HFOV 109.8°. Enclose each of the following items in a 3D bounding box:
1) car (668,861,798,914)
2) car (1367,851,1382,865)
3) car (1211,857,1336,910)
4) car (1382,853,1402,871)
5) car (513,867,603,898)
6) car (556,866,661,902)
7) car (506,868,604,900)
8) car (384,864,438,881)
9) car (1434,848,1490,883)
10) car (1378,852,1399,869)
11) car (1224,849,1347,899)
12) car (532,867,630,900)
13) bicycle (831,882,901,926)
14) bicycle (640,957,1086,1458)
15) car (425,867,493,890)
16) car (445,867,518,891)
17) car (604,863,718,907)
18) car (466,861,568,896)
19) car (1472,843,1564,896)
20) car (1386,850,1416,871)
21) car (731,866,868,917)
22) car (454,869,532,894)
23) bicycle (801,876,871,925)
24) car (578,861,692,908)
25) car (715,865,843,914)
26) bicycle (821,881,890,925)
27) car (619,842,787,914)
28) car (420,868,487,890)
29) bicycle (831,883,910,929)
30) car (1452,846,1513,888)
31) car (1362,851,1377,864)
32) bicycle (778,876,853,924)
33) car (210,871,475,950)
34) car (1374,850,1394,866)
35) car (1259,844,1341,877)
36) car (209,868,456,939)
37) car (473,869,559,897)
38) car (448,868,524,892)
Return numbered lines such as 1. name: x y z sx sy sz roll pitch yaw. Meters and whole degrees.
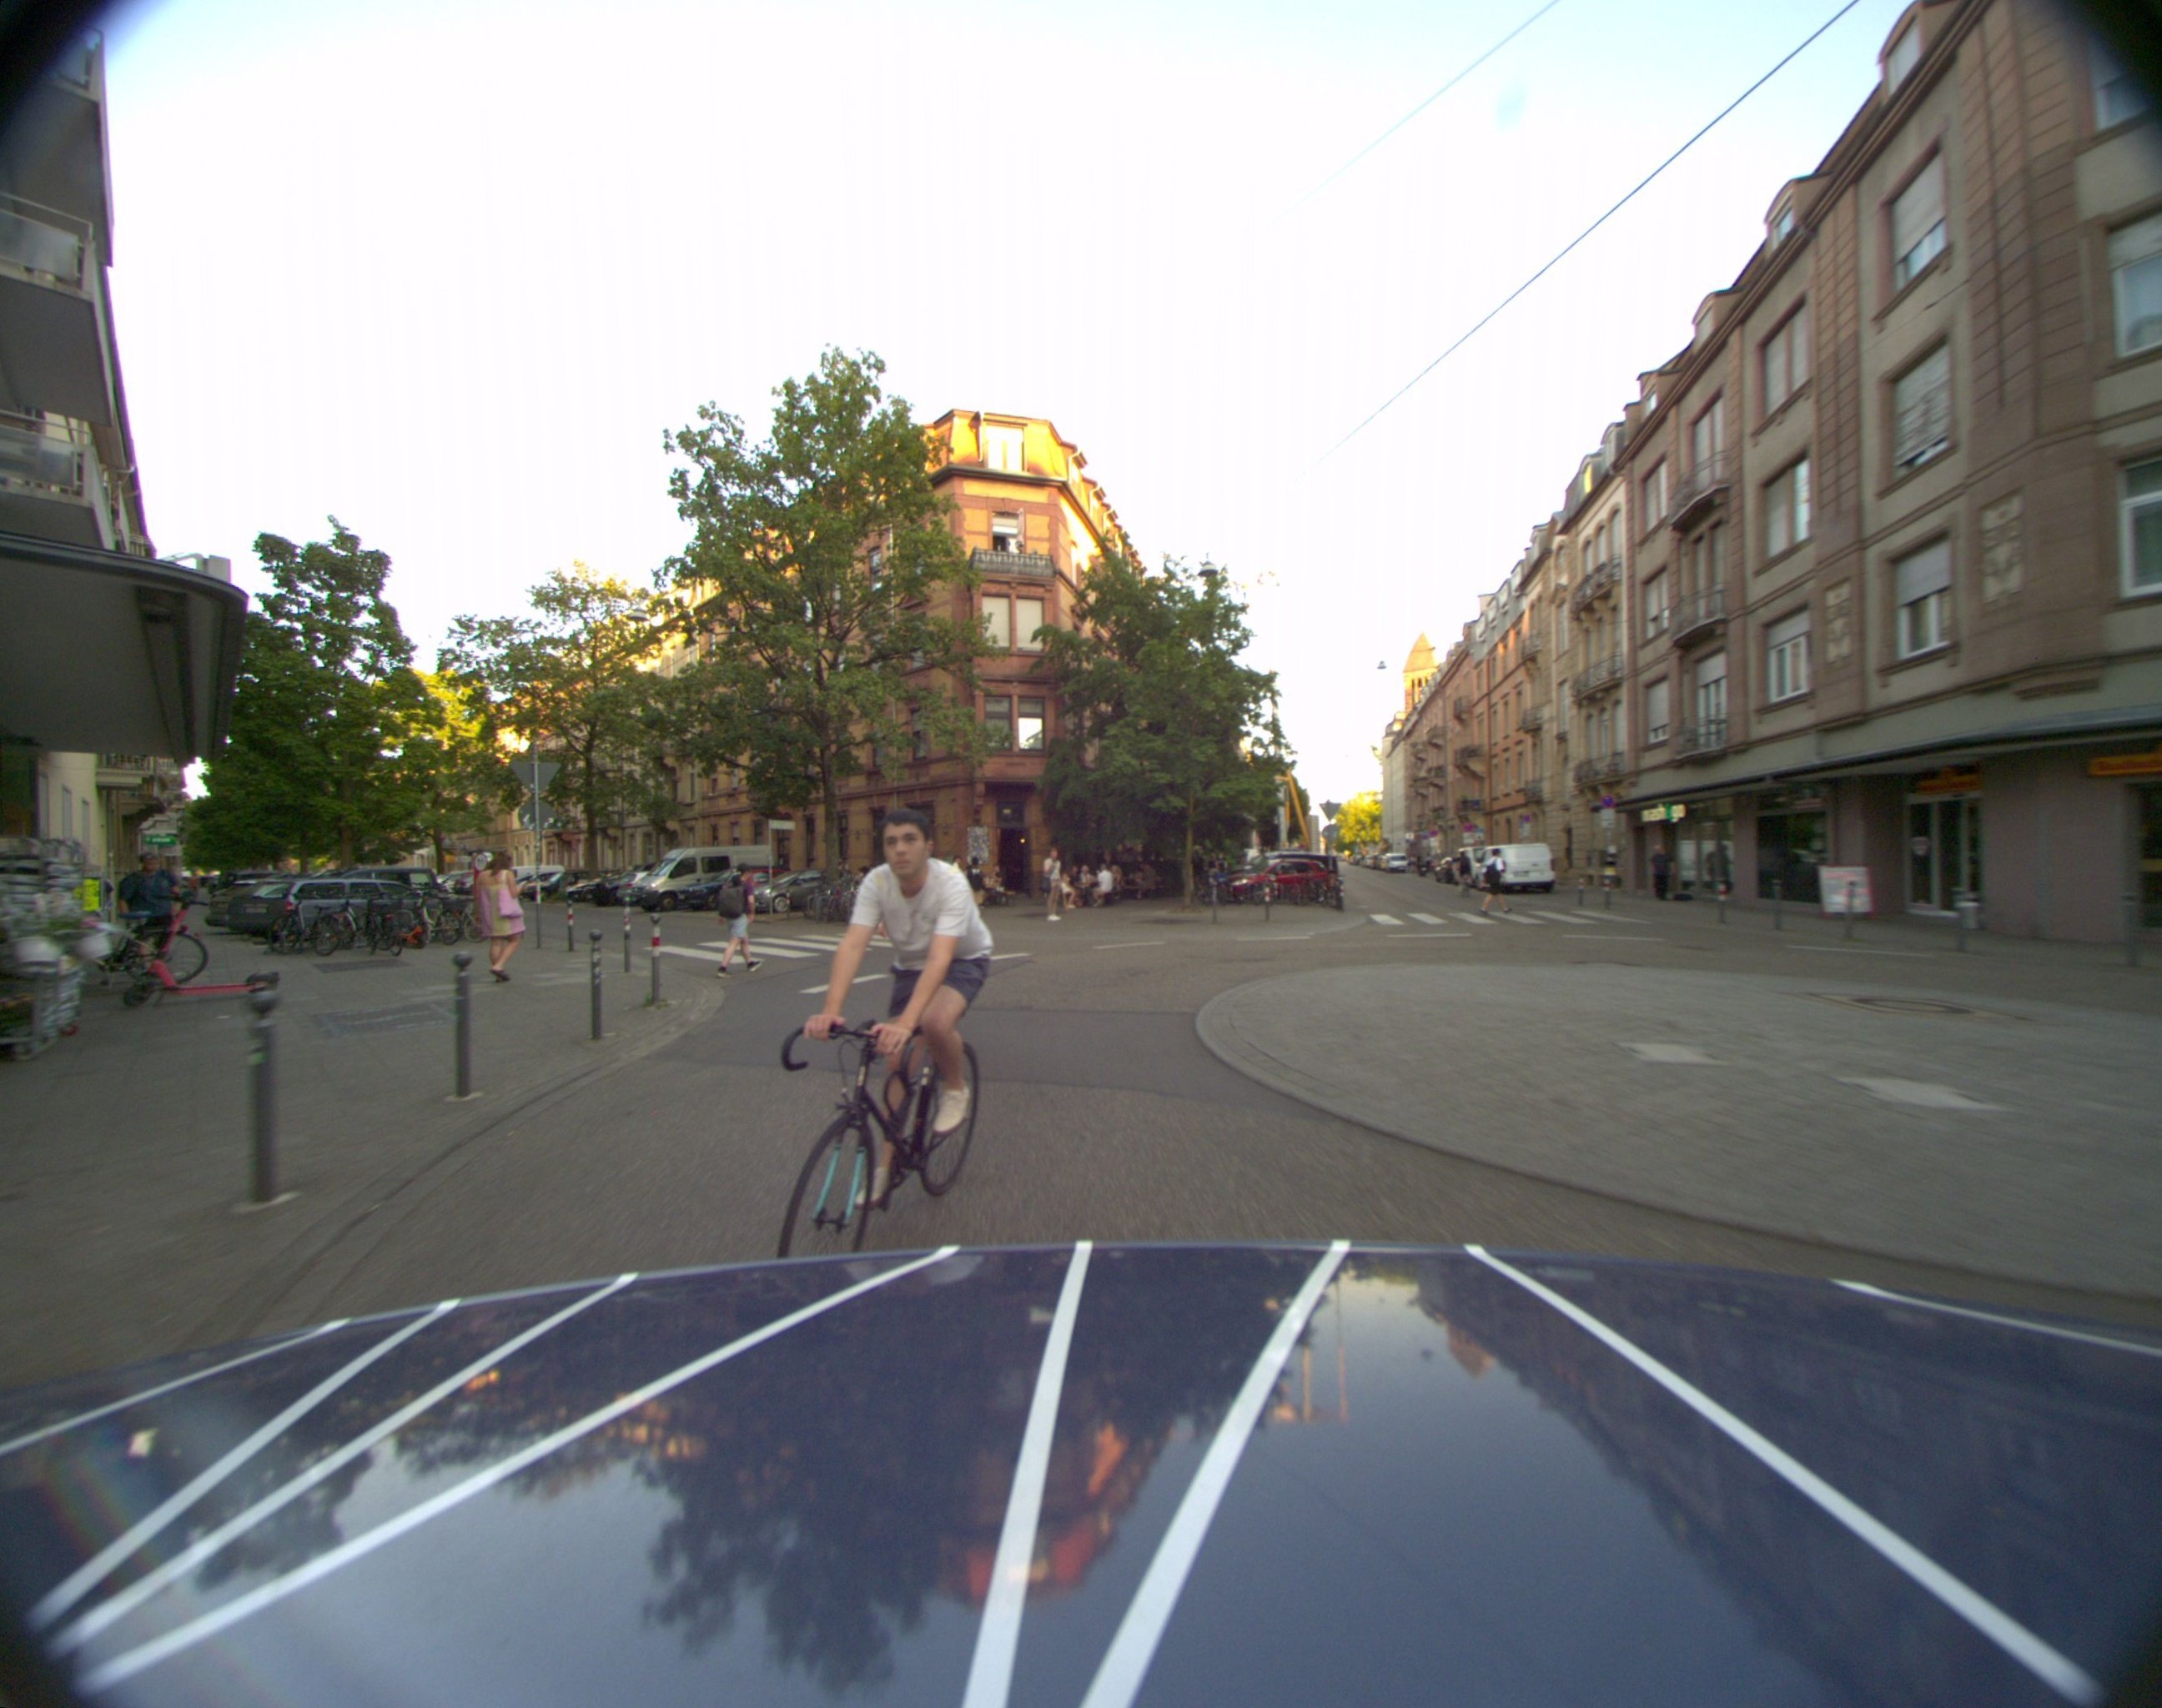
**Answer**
1. car: -13.038 1.189 28.635 1.759 1.653 3.983 -1 2 42
2. car: 39.821 0.477 103.129 1.866 1.729 3.804 -2 1 20
3. car: 6.989 1.027 27.748 4.002 1.658 1.825 -2 1 -14
4. car: 32.716 0.827 79.960 1.837 1.633 3.930 -2 1 20
5. car: -30.467 1.641 44.347 1.728 1.528 3.877 -1 1 36
6. car: -23.702 1.487 38.230 1.846 1.528 3.983 -1 1 36
7. car: -29.079 1.623 42.096 1.846 1.528 3.983 -1 1 36
8. car: -69.509 1.919 78.897 1.787 1.620 3.919 -1 1 39
9. car: 21.376 0.601 42.790 2.138 1.811 4.546 -2 0 18
10. car: 33.933 0.719 83.862 1.996 1.729 4.005 -2 1 20
11. car: 9.612 0.909 35.872 5.146 2.085 2.115 -2 1 -8
12. car: -27.024 1.564 41.166 1.846 1.528 3.983 -1 1 36
13. bicycle: -5.949 1.361 21.115 0.711 1.072 1.887 -1 1 28
14. bicycle: -0.620 1.062 2.989 0.657 1.012 1.920 -2 1 19
15. car: -49.928 1.922 61.034 1.787 1.588 3.919 -1 1 39
16. car: -44.370 1.859 56.285 1.787 1.539 3.919 -1 1 39
17. car: -18.472 1.328 33.578 1.759 1.653 3.983 -1 1 42
18. car: -36.764 1.553 49.606 2.196 2.000 4.858 -1 1 38
19. car: 17.865 0.591 31.306 2.138 1.946 4.775 -2 0 16
20. car: 29.422 0.609 69.959 2.138 1.811 4.546 -2 0 17
21. car: -9.465 1.220 25.787 1.623 1.412 3.983 -1 1 42
22. car: -40.786 1.889 52.736 1.787 1.525 3.919 -1 1 39
23. bicycle: -6.953 1.298 21.643 0.711 1.232 1.887 -1 1 28
24. car: -20.210 1.333 34.543 1.846 1.814 3.983 -1 1 42
25. car: -10.958 1.235 27.777 1.623 1.494 3.983 -1 1 42
26. bicycle: -6.363 1.360 21.534 0.711 1.072 1.887 -1 1 28
27. car: -14.950 0.853 30.375 2.115 2.443 5.498 -1 2 39
28. car: -51.634 2.021 62.574 1.787 1.620 3.919 -1 1 39
29. bicycle: -5.576 1.360 20.240 0.710 1.052 1.888 -1 1 44
30. car: 19.474 0.596 37.056 1.877 1.892 4.332 -2 0 18
31. car: 41.219 0.460 108.572 1.906 1.729 3.855 -2 1 20
32. bicycle: -7.706 1.299 22.088 1.888 1.232 0.710 -3 1 -41
33. car: -17.491 1.253 18.390 1.791 1.479 4.452 -2 1 5
34. car: 35.295 0.458 88.641 1.996 1.729 4.005 -2 1 20
35. car: 15.856 0.444 55.190 5.146 2.182 2.336 -2 1 -8
36. car: -19.654 1.231 20.302 1.949 1.479 4.452 -2 1 5
37. car: -35.034 1.762 47.184 1.728 1.528 3.877 -1 1 36
38. car: -42.891 1.851 54.835 1.787 1.525 3.919 -1 1 39
